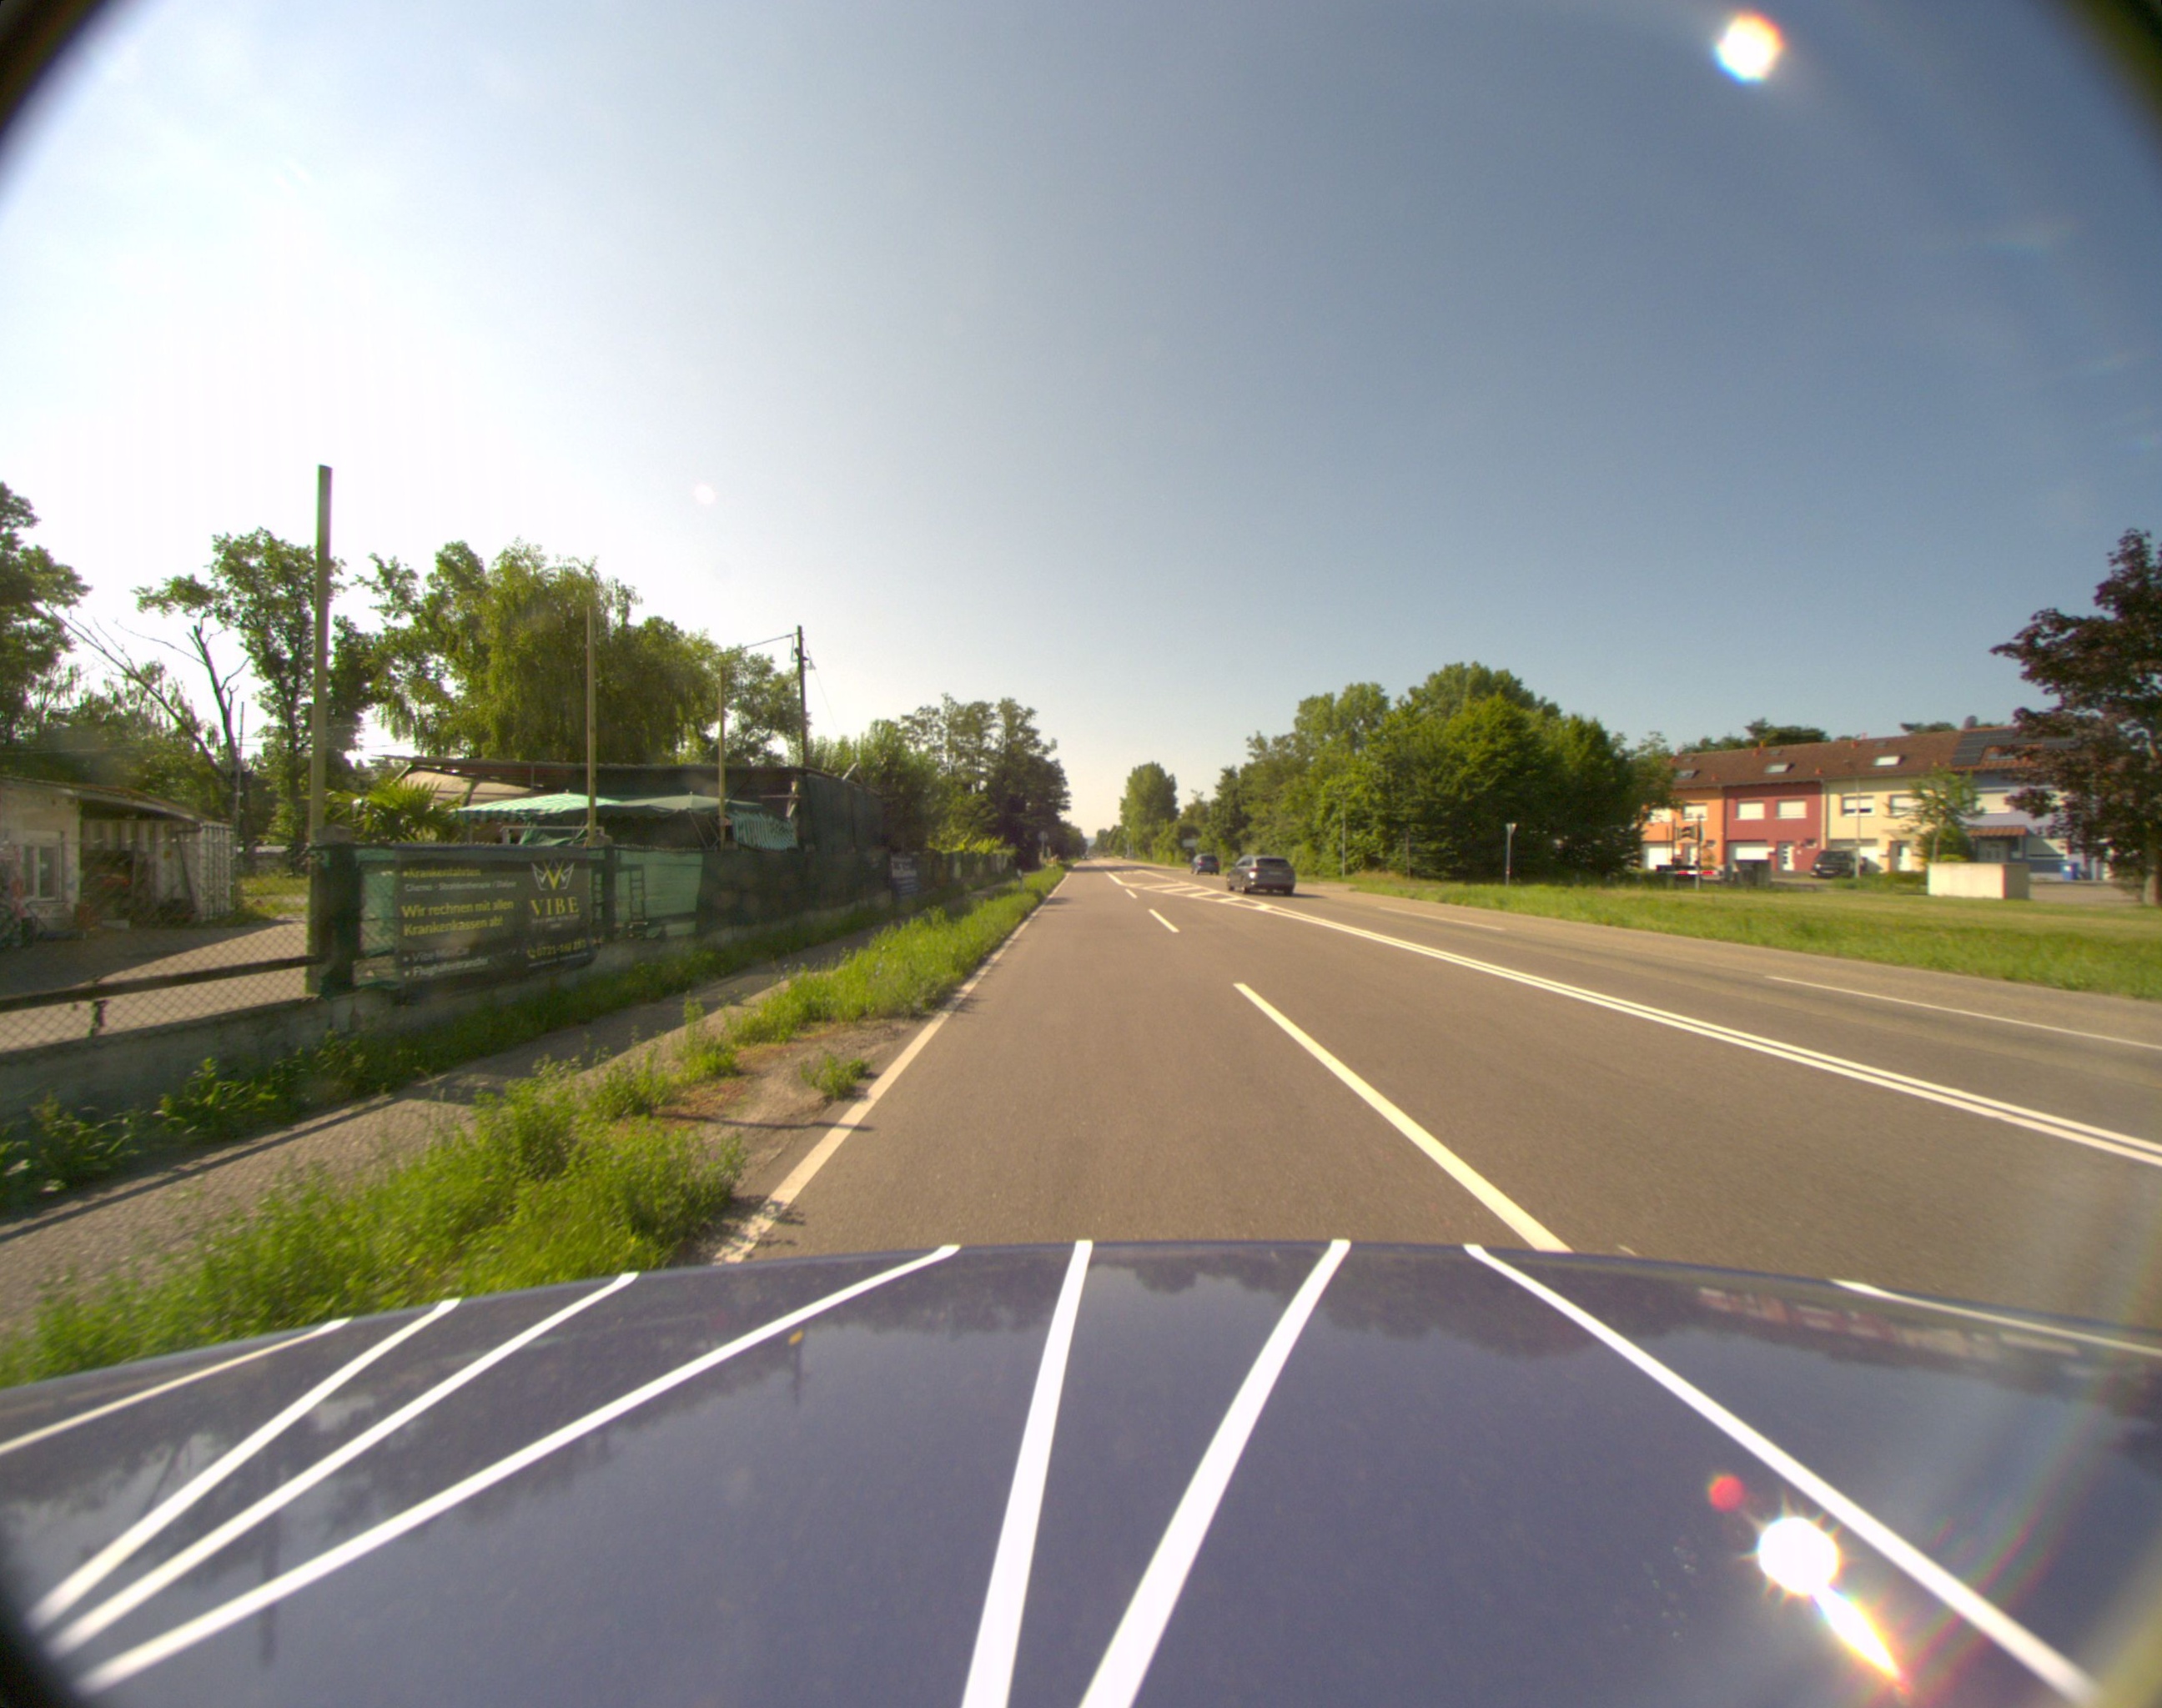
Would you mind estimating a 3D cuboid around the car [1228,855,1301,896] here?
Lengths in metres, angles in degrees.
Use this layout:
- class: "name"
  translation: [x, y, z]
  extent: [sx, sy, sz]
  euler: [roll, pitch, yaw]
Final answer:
- class: "car"
  translation: [6.692, 0.761, 28.078]
  extent: [1.768, 1.403, 4.174]
  euler: [0, -1, 1]

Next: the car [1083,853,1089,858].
- class: "car"
  translation: [1.350, 0.535, 213.361]
  extent: [1.768, 1.403, 4.001]
  euler: [0, -1, 1]

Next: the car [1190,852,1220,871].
- class: "car"
  translation: [9.517, 0.611, 58.479]
  extent: [1.768, 1.403, 4.001]
  euler: [0, -1, 1]

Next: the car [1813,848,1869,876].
- class: "car"
  translation: [48.558, 0.481, 48.517]
  extent: [4.007, 1.574, 1.994]
  euler: [-3, 2, -37]
